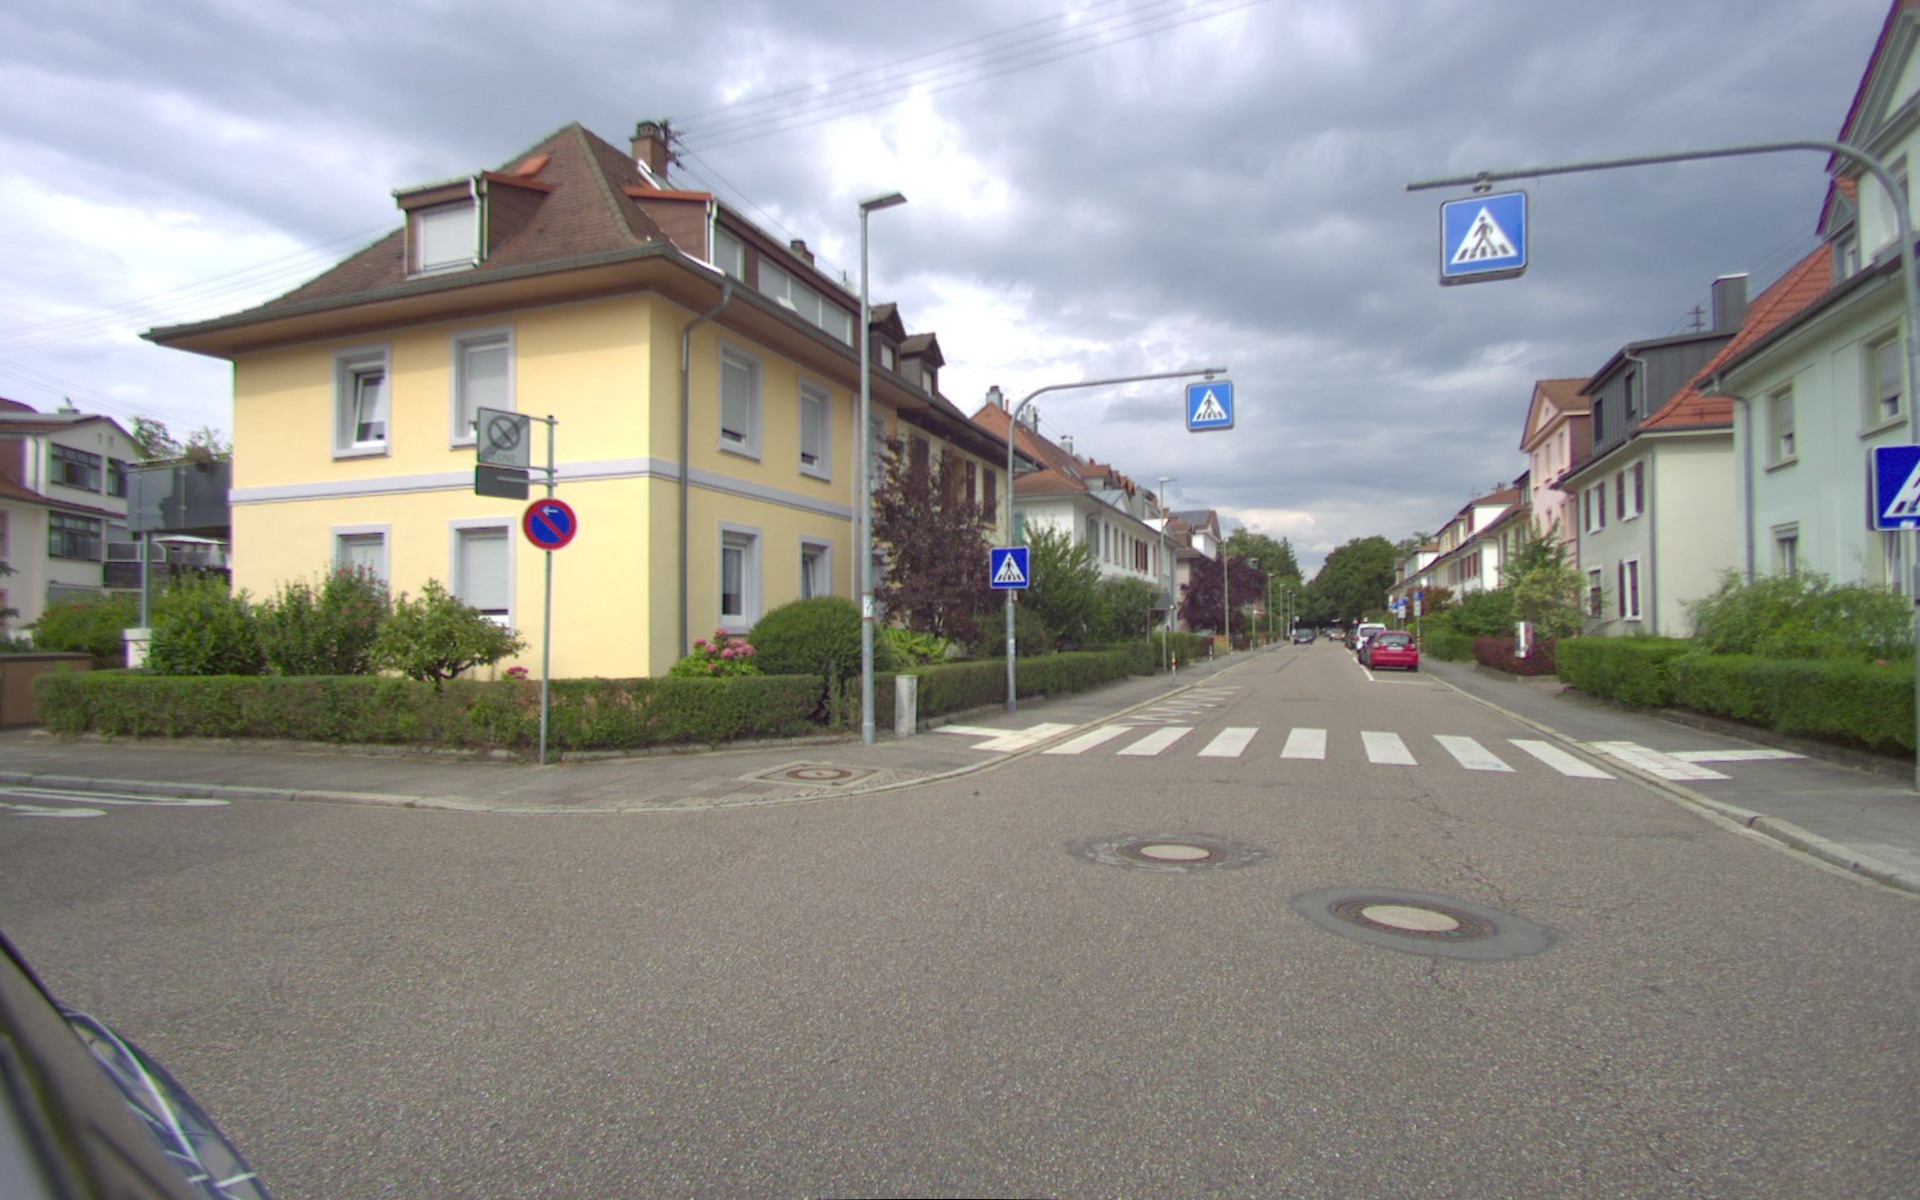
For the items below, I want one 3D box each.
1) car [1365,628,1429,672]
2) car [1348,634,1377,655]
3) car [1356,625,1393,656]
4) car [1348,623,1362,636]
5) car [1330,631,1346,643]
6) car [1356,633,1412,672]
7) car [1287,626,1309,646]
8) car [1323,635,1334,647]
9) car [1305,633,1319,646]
[{"bbox_3d":[16.752,1.907,38.939,1.985,1.586,3.973,-1,-2,20],"label":"car"},{"bbox_3d":[31.785,3.483,79.913,1.985,1.586,3.973,-1,-2,20],"label":"car"},{"bbox_3d":[26.644,2.594,65.114,1.985,1.918,3.973,-1,-2,20],"label":"car"},{"bbox_3d":[64.199,4.824,164.465,1.986,2.029,3.972,0,-2,21],"label":"car"},{"bbox_3d":[48.806,4.796,130.788,1.822,1.497,3.974,0,-2,19],"label":"car"},{"bbox_3d":[18.324,2.232,43.889,1.985,1.586,3.973,-1,-2,20],"label":"car"},{"bbox_3d":[34.943,3.737,104.591,1.985,2.029,3.972,-1,-2,20],"label":"car"},{"bbox_3d":[62.302,6.887,171.179,1.616,2.029,3.884,-1,-2,18],"label":"car"},{"bbox_3d":[52.953,5.955,152.152,1.798,1.893,3.922,-1,-2,21],"label":"car"}]
